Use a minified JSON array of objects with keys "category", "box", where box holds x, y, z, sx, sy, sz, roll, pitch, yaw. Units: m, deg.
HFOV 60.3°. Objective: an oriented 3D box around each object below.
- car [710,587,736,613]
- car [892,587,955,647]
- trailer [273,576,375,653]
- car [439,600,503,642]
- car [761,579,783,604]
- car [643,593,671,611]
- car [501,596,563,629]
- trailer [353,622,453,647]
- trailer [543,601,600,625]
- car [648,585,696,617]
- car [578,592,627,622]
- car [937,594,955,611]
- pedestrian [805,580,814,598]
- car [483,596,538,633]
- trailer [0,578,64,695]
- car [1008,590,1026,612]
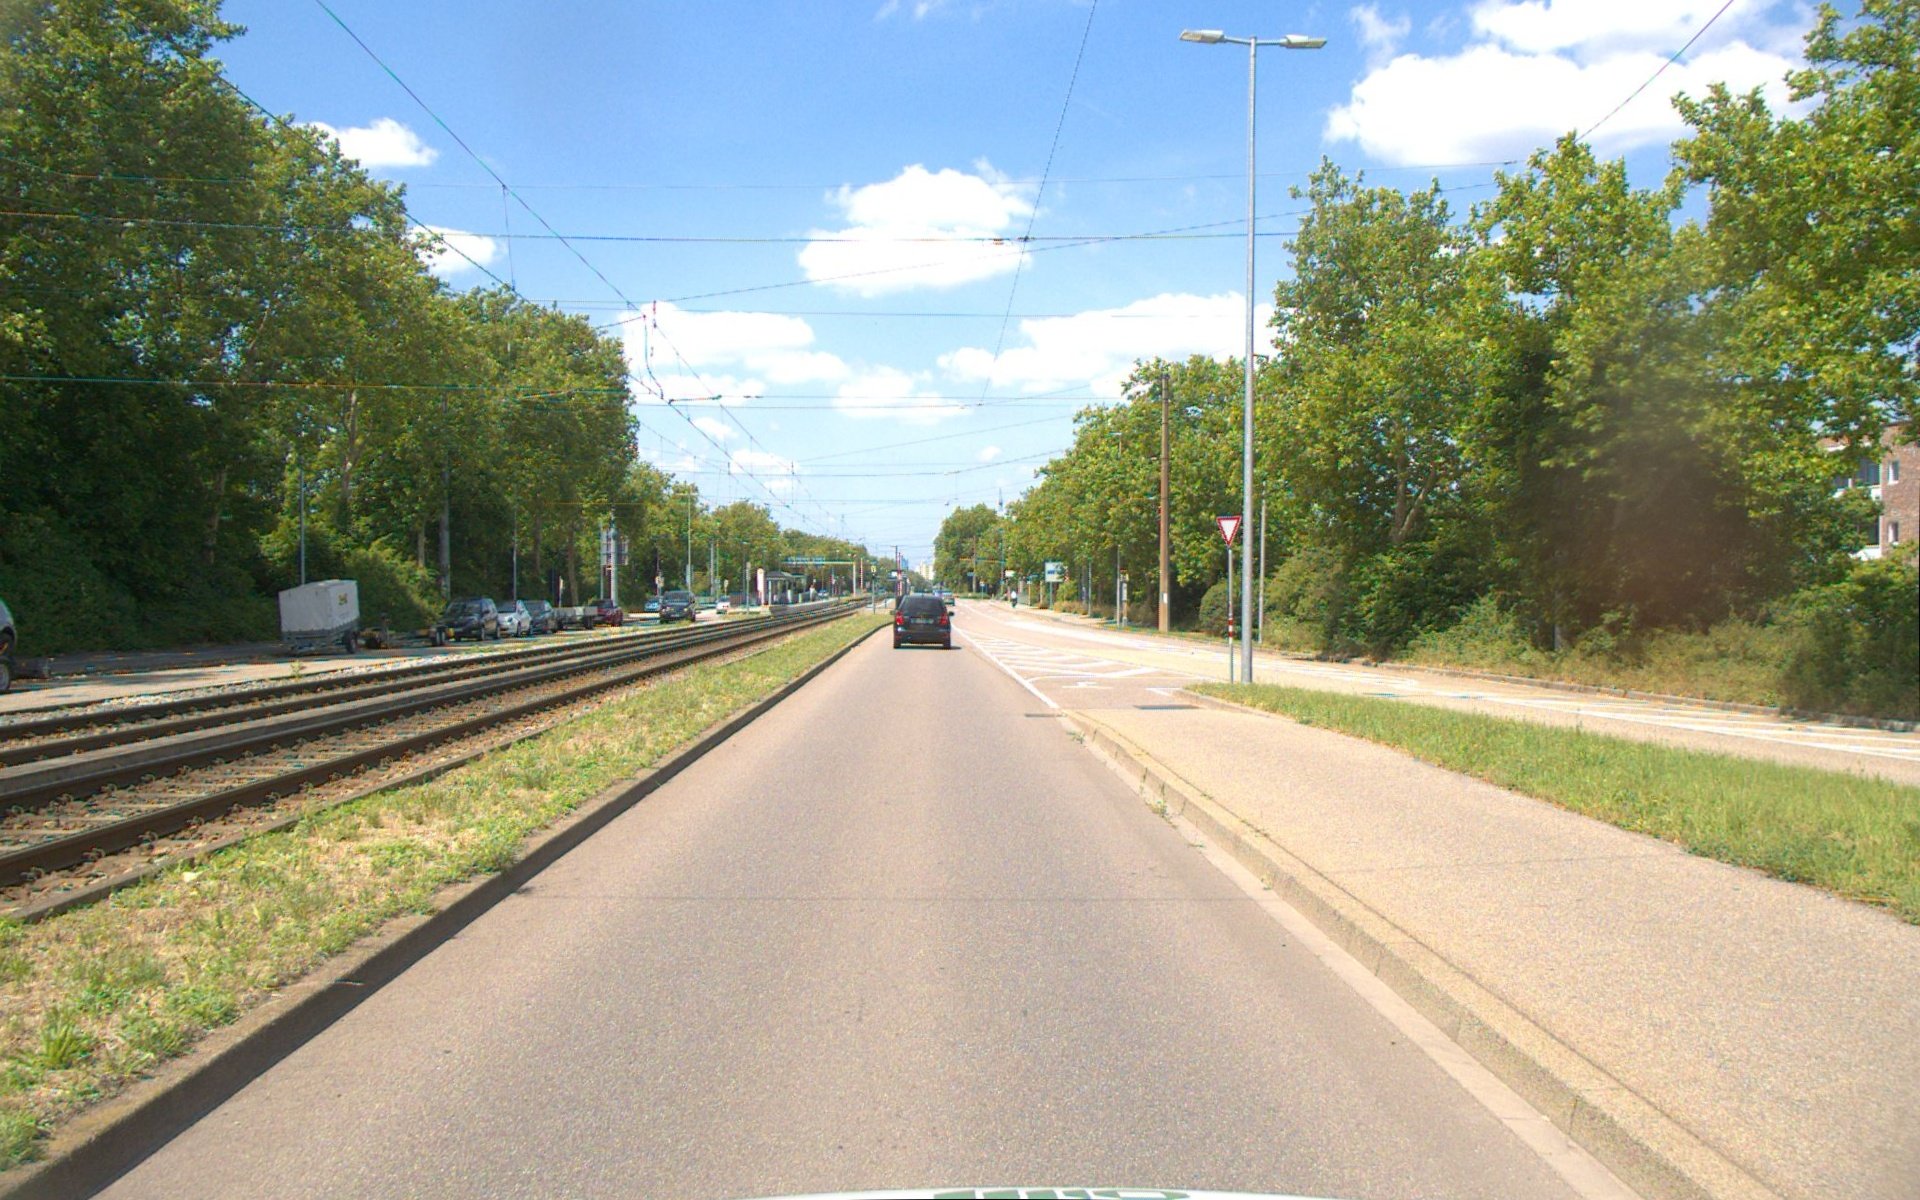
[{"category":"car","box":[-19.762,-0.039,138.048,1.955,2.048,3.996,1,1,-6]},{"category":"car","box":[-1.091,0.472,50.605,1.815,1.597,4.388,1,2,-1]},{"category":"trailer","box":[-17.947,0.367,46.822,1.578,2.049,3.913,1,1,-4]},{"category":"car","box":[-18.146,0.754,61.549,1.405,1.477,3.919,1,0,-3]},{"category":"car","box":[-16.706,-0.783,147.061,1.554,2.048,4.108,1,1,-3]},{"category":"car","box":[-28.386,0.162,155.091,1.953,1.601,3.999,0,0,-1]},{"category":"car","box":[-18.958,0.536,73.397,1.833,1.425,4.415,1,0,-3]},{"category":"trailer","box":[-17.880,1.091,53.249,1.953,0.755,3.998,0,-1,-2]},{"category":"trailer","box":[-19.355,0.638,82.649,1.855,1.062,5.101,1,1,-3]},{"category":"car","box":[-17.234,0.032,99.315,2.074,1.821,5.403,1,0,-2]},{"category":"car","box":[-19.809,0.393,91.767,1.953,1.601,3.999,0,0,-2]},{"category":"car","box":[-1.577,0.248,187.981,1.846,1.668,4.000,4,1,-1]},{"category":"pedestrian","box":[-17.001,-1.233,187.171,0.933,2.048,0.892,1,1,-2]},{"category":"car","box":[-18.431,0.572,67.958,1.405,1.477,3.739,1,0,-3]},{"category":"trailer","box":[-16.894,0.599,26.401,2.414,1.922,5.955,1,0,-6]},{"category":"car","box":[5.793,0.085,168.679,1.580,2.048,3.438,1,1,-2]}]
